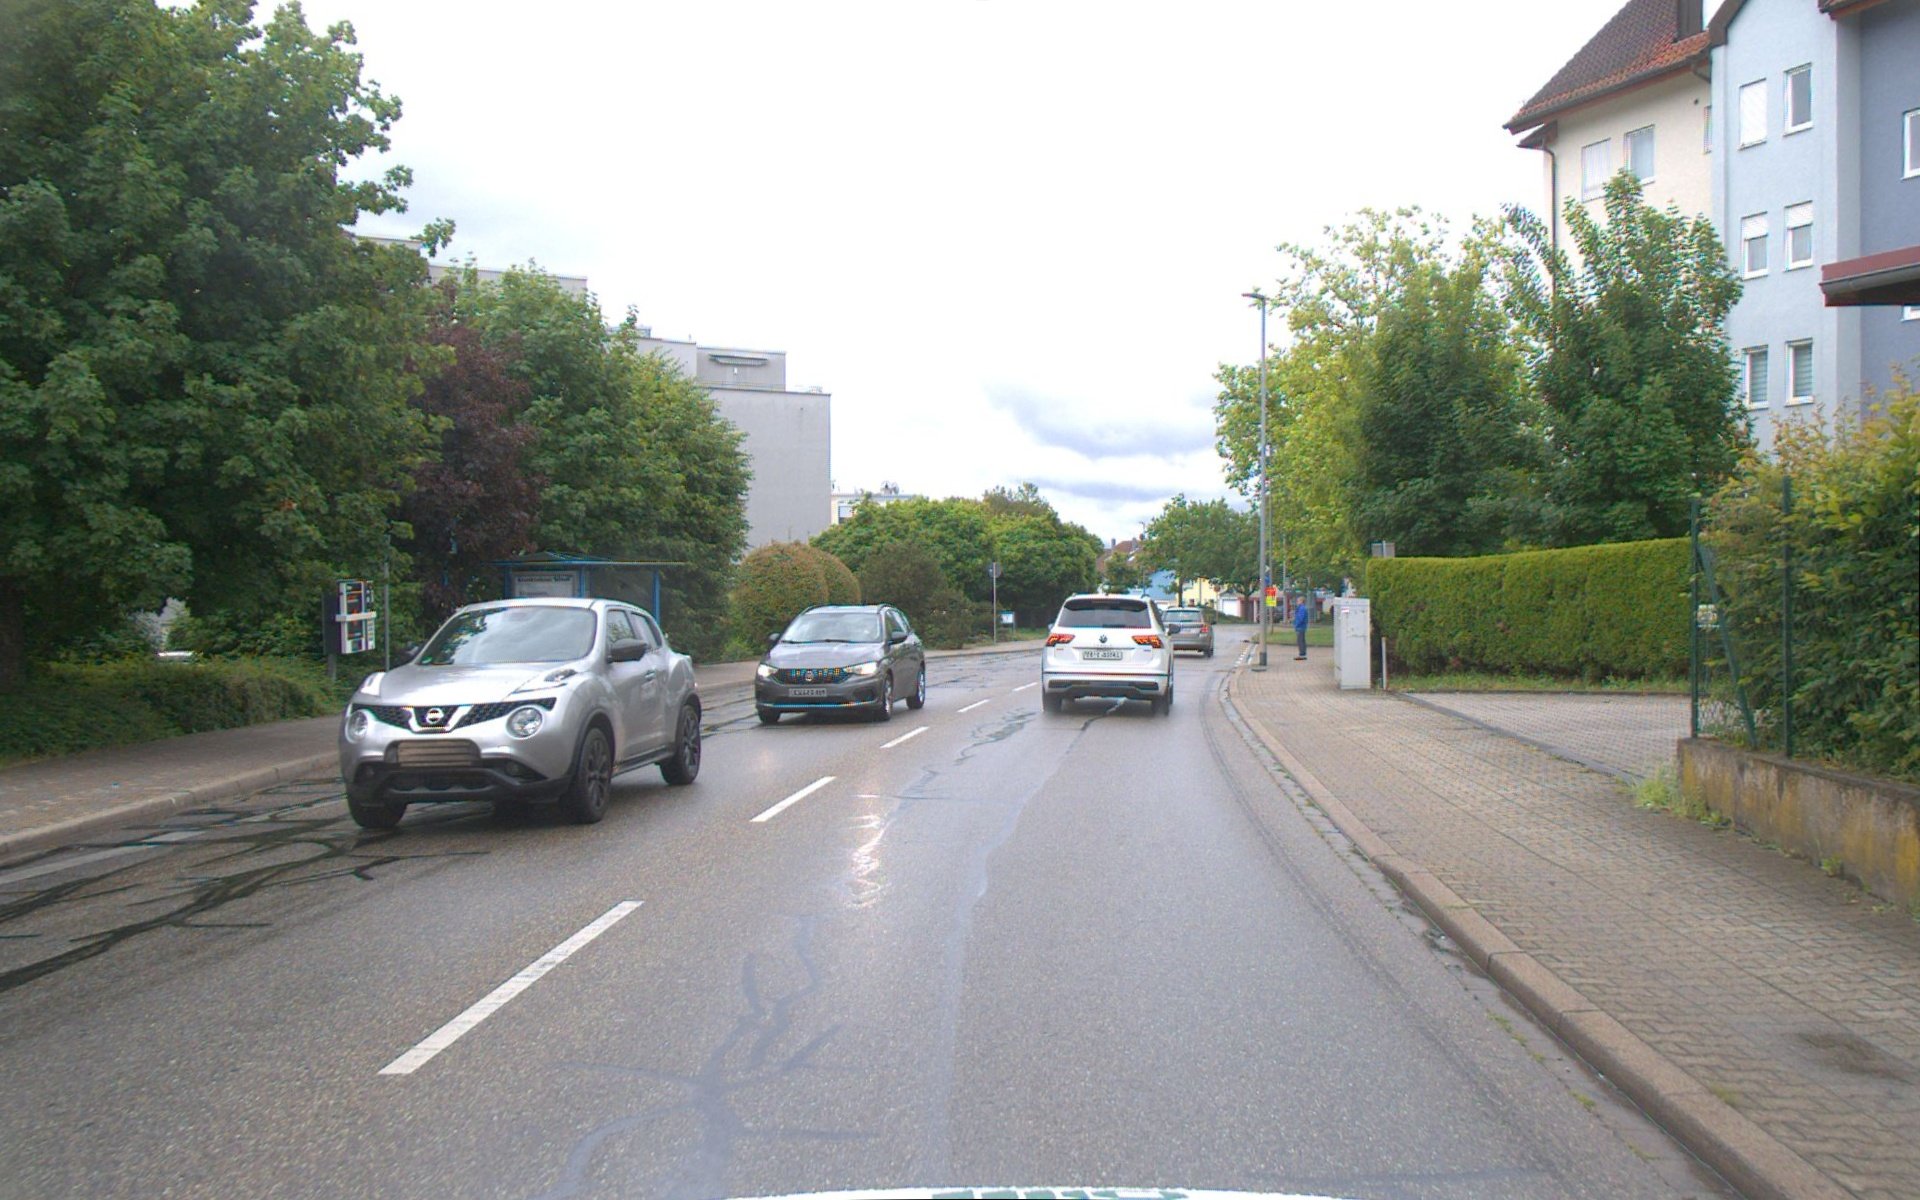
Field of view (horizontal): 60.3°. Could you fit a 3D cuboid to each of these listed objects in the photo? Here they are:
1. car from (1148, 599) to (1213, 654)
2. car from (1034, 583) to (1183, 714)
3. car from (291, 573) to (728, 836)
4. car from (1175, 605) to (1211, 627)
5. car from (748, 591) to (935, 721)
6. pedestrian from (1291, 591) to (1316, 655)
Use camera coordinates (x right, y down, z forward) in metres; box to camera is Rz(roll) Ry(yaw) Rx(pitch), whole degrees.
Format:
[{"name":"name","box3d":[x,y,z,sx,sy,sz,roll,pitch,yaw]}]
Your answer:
[{"name":"car","box3d":[6.700,0.838,49.940,1.727,1.536,4.003,-1,-2,10]},{"name":"car","box3d":[2.284,0.667,24.485,1.880,1.752,4.268,1,0,9]},{"name":"car","box3d":[-3.212,0.682,12.739,1.861,1.686,4.118,-1,0,6]},{"name":"car","box3d":[17.159,1.165,122.010,1.965,1.482,3.998,0,-2,-1]},{"name":"car","box3d":[-1.535,0.711,22.938,1.861,1.617,4.118,-1,0,6]},{"name":"pedestrian","box3d":[9.313,0.627,44.823,0.558,1.701,0.723,-1,-2,17]}]
